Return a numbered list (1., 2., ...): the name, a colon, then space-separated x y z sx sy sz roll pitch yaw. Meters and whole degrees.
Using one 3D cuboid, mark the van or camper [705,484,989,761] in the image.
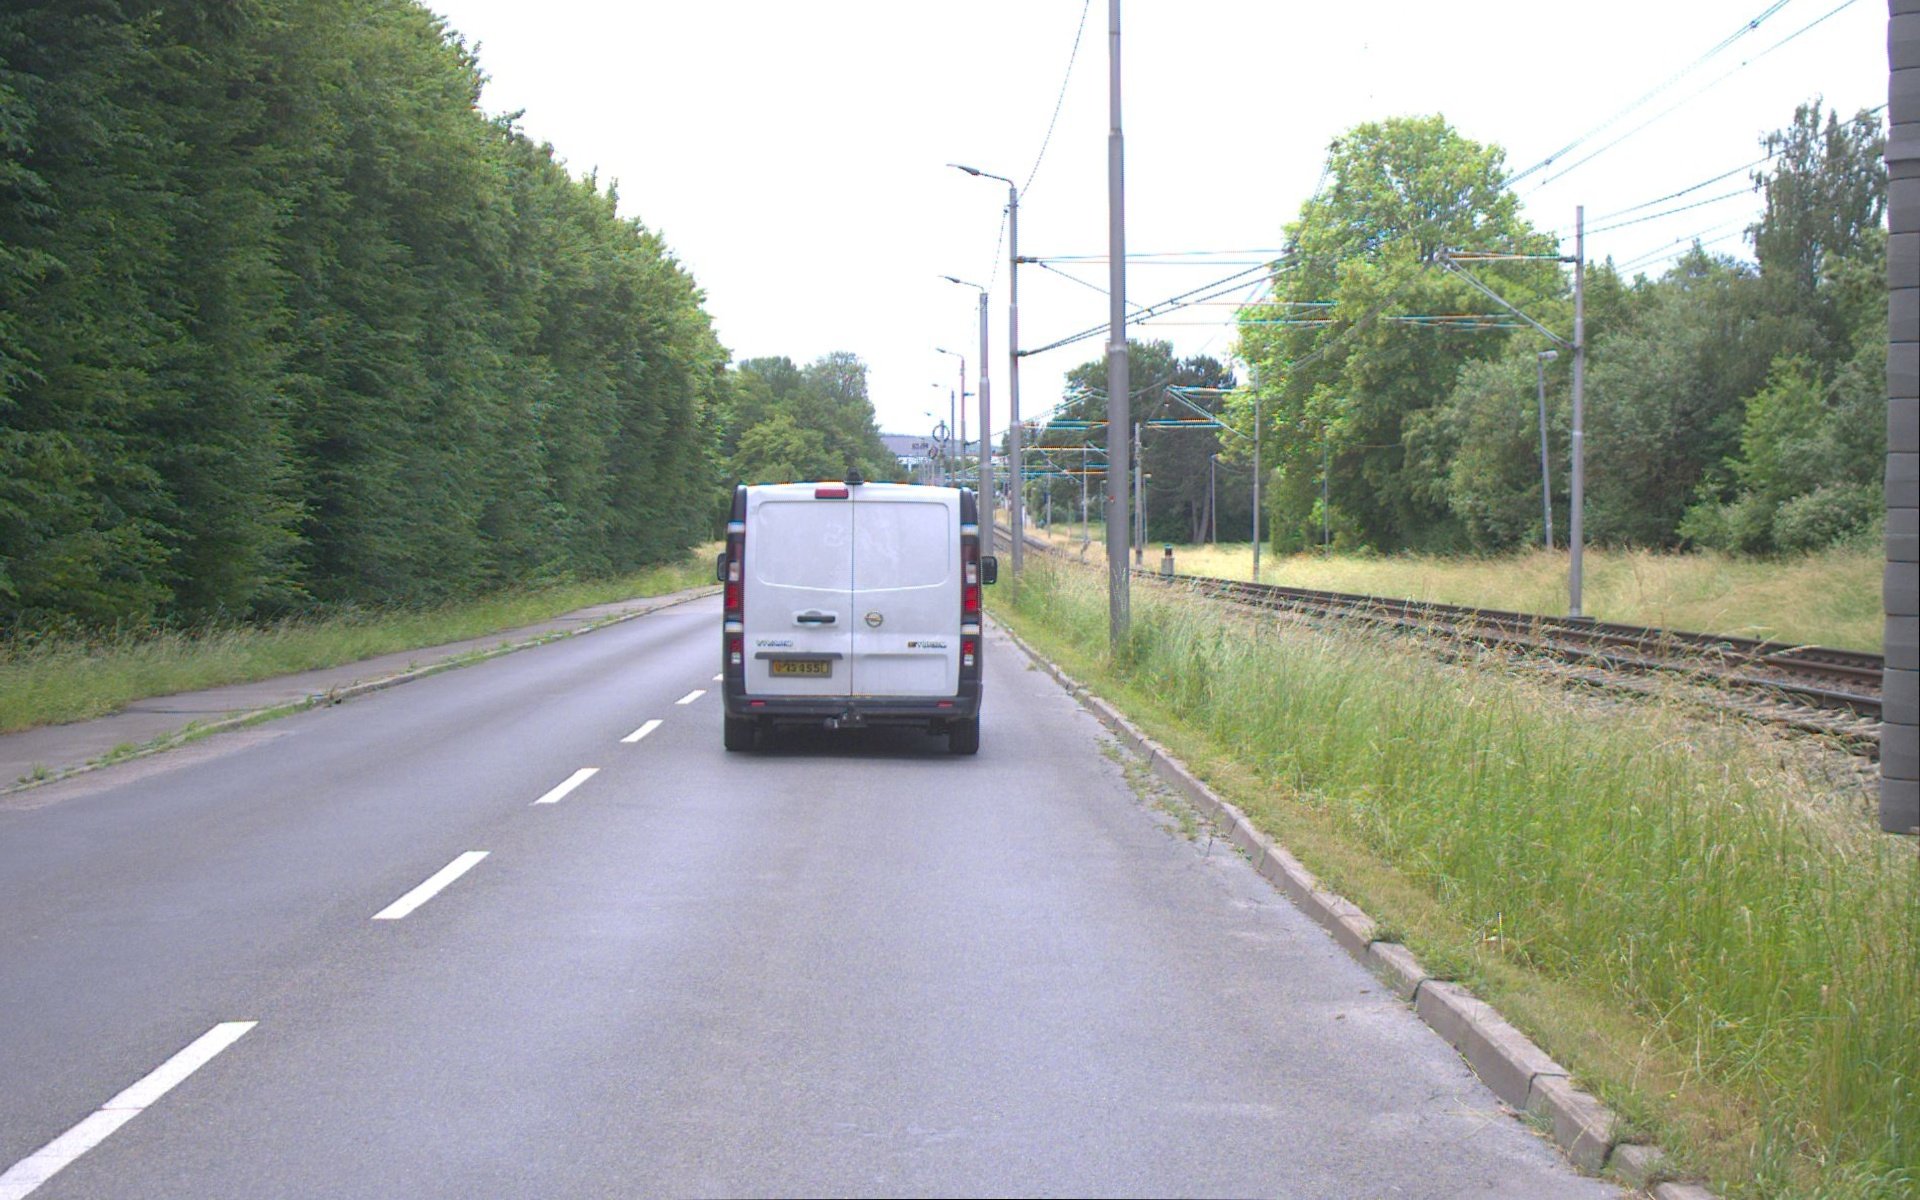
1. van or camper: -0.880 0.118 25.901 1.942 1.890 4.285 -1 1 -3
